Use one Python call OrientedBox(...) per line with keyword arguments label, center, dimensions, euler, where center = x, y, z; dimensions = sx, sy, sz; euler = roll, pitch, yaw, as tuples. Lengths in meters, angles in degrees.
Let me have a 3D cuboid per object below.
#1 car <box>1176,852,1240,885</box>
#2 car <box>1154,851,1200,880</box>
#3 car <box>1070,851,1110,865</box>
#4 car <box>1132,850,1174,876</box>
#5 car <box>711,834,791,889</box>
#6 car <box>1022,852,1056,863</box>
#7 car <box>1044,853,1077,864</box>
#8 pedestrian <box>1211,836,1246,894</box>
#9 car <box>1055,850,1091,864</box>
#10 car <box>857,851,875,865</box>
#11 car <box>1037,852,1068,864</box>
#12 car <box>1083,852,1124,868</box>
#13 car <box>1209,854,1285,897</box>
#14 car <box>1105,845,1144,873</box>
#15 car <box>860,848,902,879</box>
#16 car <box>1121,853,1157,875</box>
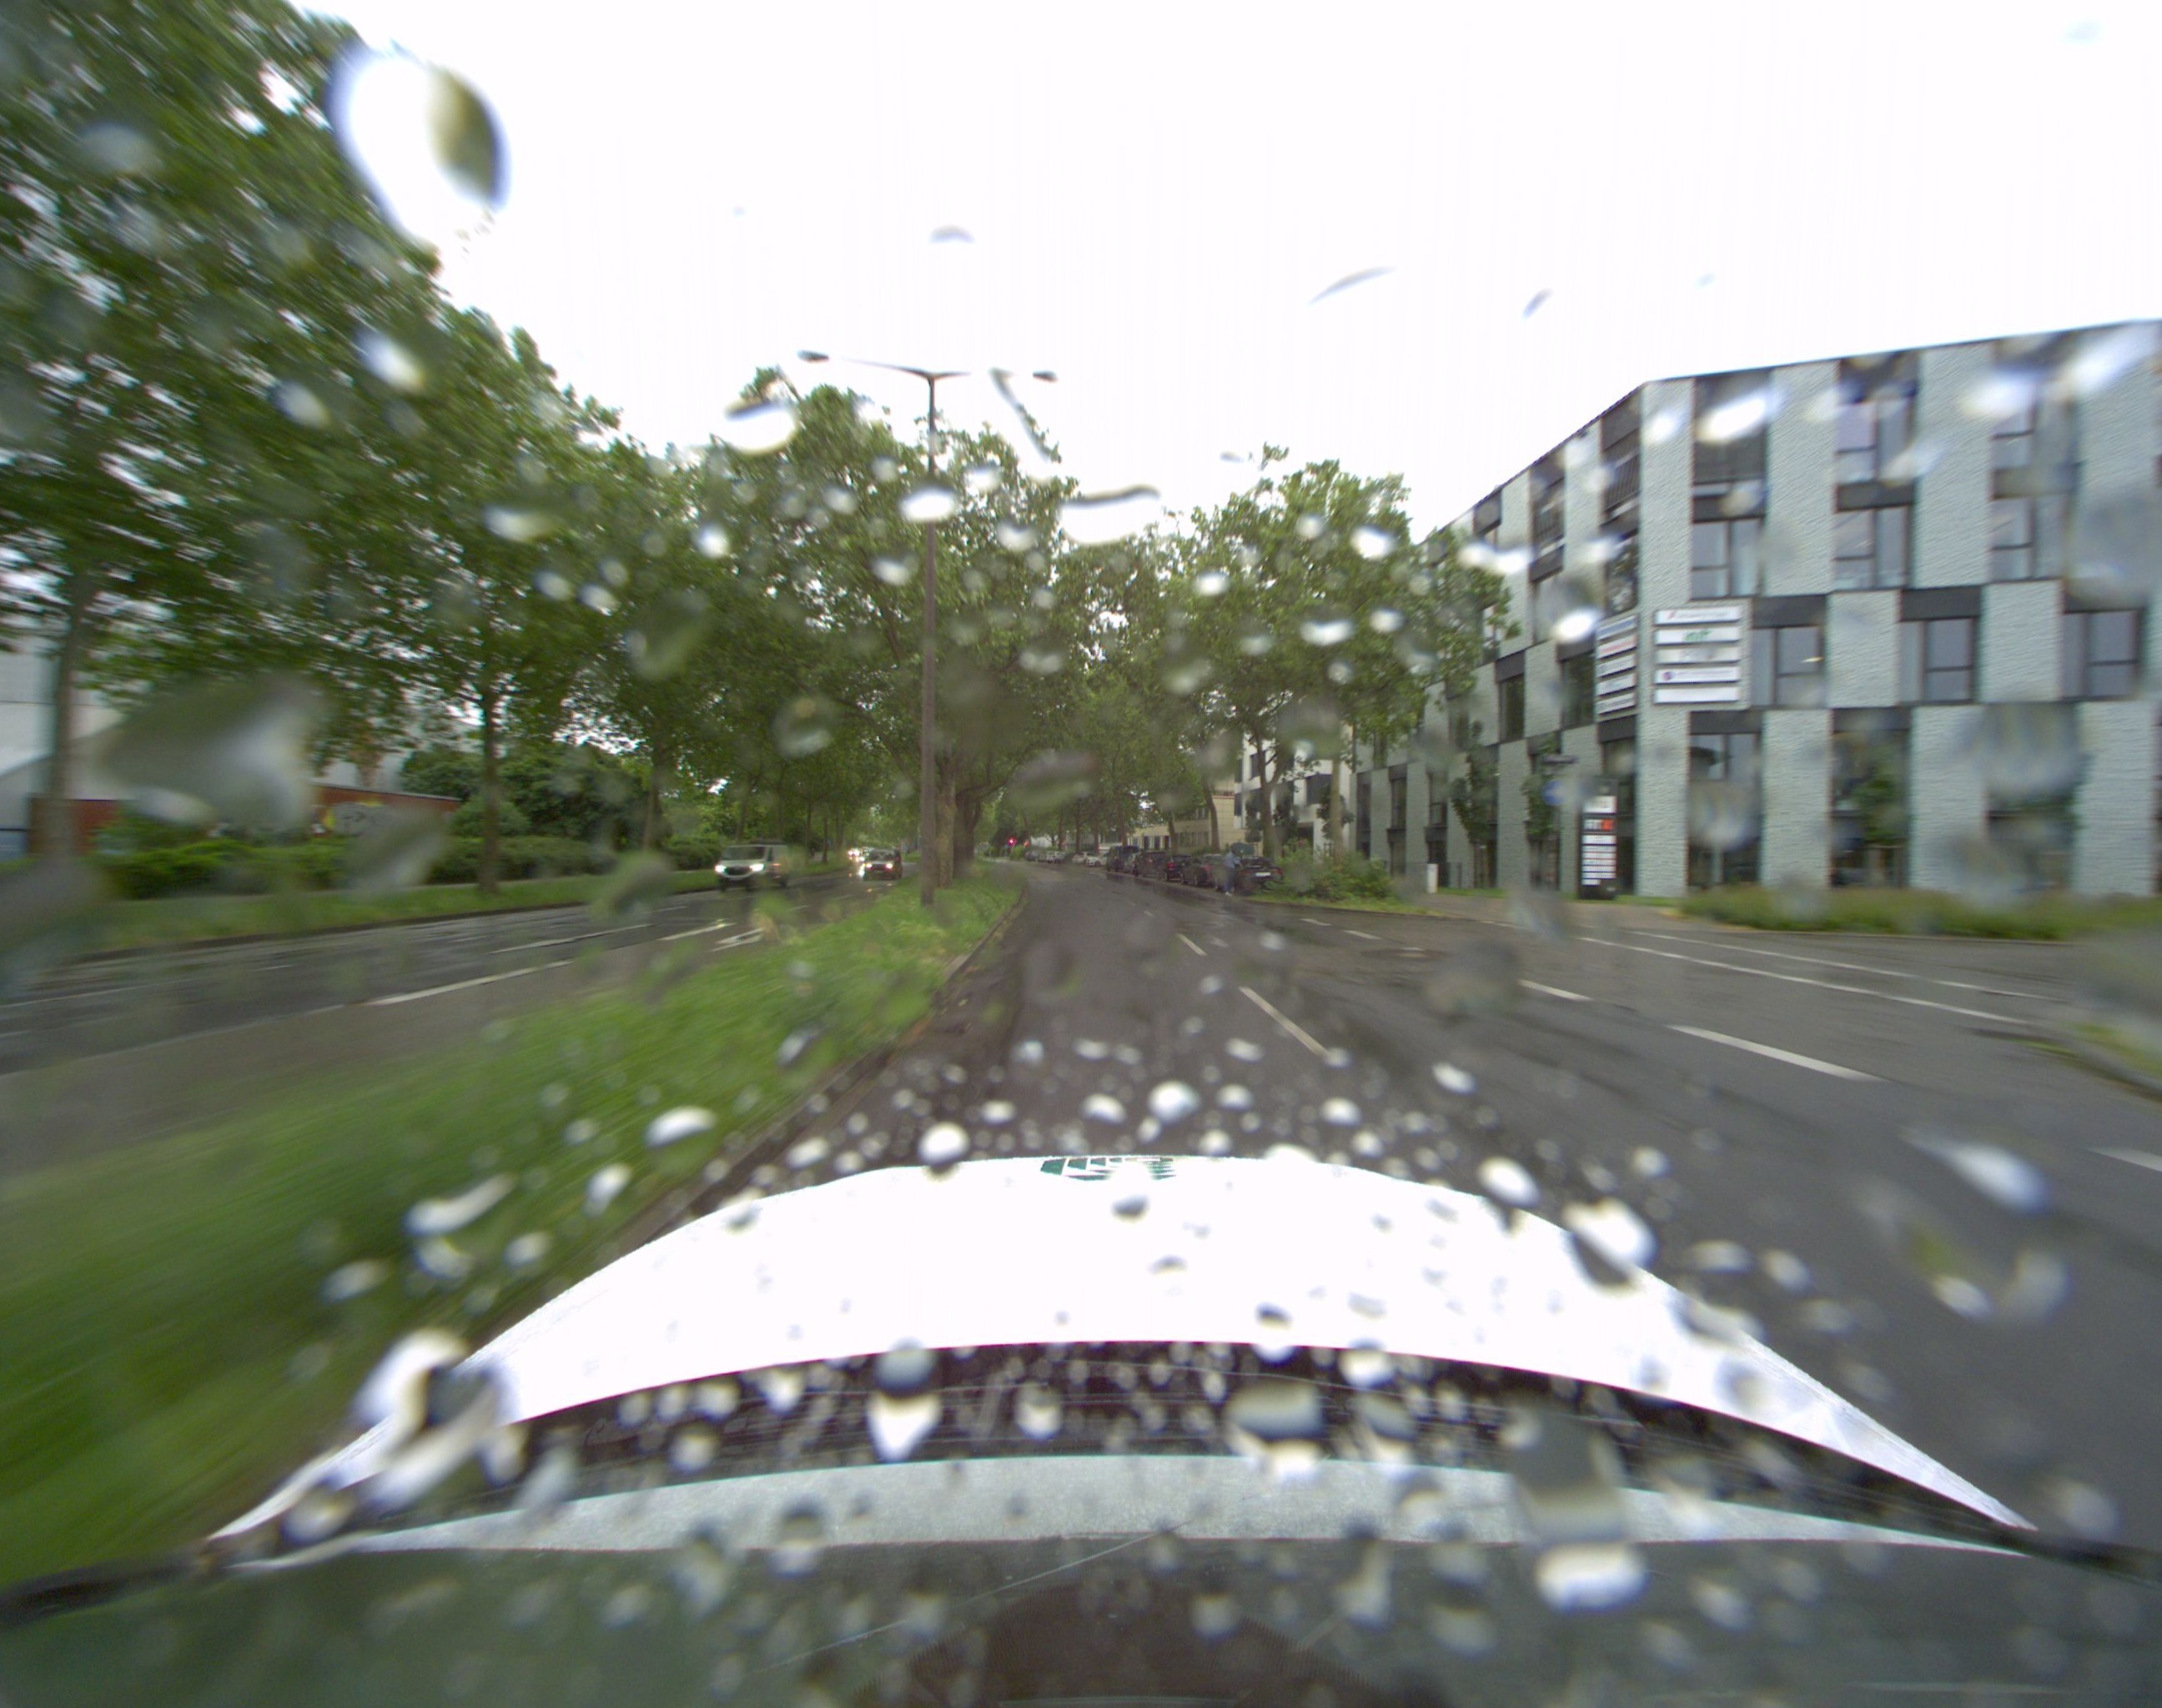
OrientedBox(label="car", center=(5.723, 0.628, 37.284), dimensions=(1.740, 1.428, 5.095), euler=(0, 0, -5))
OrientedBox(label="car", center=(5.037, 0.578, 43.324), dimensions=(1.740, 1.476, 4.077), euler=(0, 0, -3))
OrientedBox(label="car", center=(0.943, 0.379, 84.512), dimensions=(4.060, 1.428, 1.728), euler=(0, 0, -42))
OrientedBox(label="car", center=(4.399, 0.533, 50.327), dimensions=(1.741, 1.566, 4.361), euler=(0, 0, -7))
OrientedBox(label="car", center=(-14.258, 0.311, 35.534), dimensions=(2.029, 2.226, 5.417), euler=(0, 0, -9))
OrientedBox(label="car", center=(-5.851, 0.441, 113.001), dimensions=(4.518, 1.459, 1.729), euler=(0, 0, -39))
OrientedBox(label="car", center=(-2.445, 0.538, 98.662), dimensions=(3.710, 1.416, 1.729), euler=(0, 0, -39))
OrientedBox(label="pedestrian", center=(5.191, 0.379, 28.716), dimensions=(0.904, 2.013, 0.823), euler=(0, 0, -40))
OrientedBox(label="car", center=(-0.857, 0.355, 93.709), dimensions=(4.061, 1.539, 1.728), euler=(0, 0, -44))
OrientedBox(label="car", center=(-24.775, 0.464, 94.060), dimensions=(1.744, 1.561, 4.352), euler=(0, 0, -11))
OrientedBox(label="car", center=(-3.580, 0.510, 104.072), dimensions=(3.713, 1.416, 1.754), euler=(0, 0, -42))
OrientedBox(label="car", center=(2.223, 0.591, 80.371), dimensions=(3.654, 1.504, 1.734), euler=(0, 1, -26))
OrientedBox(label="car", center=(6.153, 0.735, 30.750), dimensions=(1.738, 1.428, 4.857), euler=(-2, 0, -1))
OrientedBox(label="car", center=(3.243, 0.360, 62.411), dimensions=(2.119, 2.028, 5.515), euler=(0, 0, -7))
OrientedBox(label="car", center=(-11.772, 0.523, 48.176), dimensions=(2.030, 1.736, 4.938), euler=(0, 0, -9))
OrientedBox(label="car", center=(4.017, 0.654, 57.134), dimensions=(1.741, 1.469, 4.296), euler=(0, 0, -7))
